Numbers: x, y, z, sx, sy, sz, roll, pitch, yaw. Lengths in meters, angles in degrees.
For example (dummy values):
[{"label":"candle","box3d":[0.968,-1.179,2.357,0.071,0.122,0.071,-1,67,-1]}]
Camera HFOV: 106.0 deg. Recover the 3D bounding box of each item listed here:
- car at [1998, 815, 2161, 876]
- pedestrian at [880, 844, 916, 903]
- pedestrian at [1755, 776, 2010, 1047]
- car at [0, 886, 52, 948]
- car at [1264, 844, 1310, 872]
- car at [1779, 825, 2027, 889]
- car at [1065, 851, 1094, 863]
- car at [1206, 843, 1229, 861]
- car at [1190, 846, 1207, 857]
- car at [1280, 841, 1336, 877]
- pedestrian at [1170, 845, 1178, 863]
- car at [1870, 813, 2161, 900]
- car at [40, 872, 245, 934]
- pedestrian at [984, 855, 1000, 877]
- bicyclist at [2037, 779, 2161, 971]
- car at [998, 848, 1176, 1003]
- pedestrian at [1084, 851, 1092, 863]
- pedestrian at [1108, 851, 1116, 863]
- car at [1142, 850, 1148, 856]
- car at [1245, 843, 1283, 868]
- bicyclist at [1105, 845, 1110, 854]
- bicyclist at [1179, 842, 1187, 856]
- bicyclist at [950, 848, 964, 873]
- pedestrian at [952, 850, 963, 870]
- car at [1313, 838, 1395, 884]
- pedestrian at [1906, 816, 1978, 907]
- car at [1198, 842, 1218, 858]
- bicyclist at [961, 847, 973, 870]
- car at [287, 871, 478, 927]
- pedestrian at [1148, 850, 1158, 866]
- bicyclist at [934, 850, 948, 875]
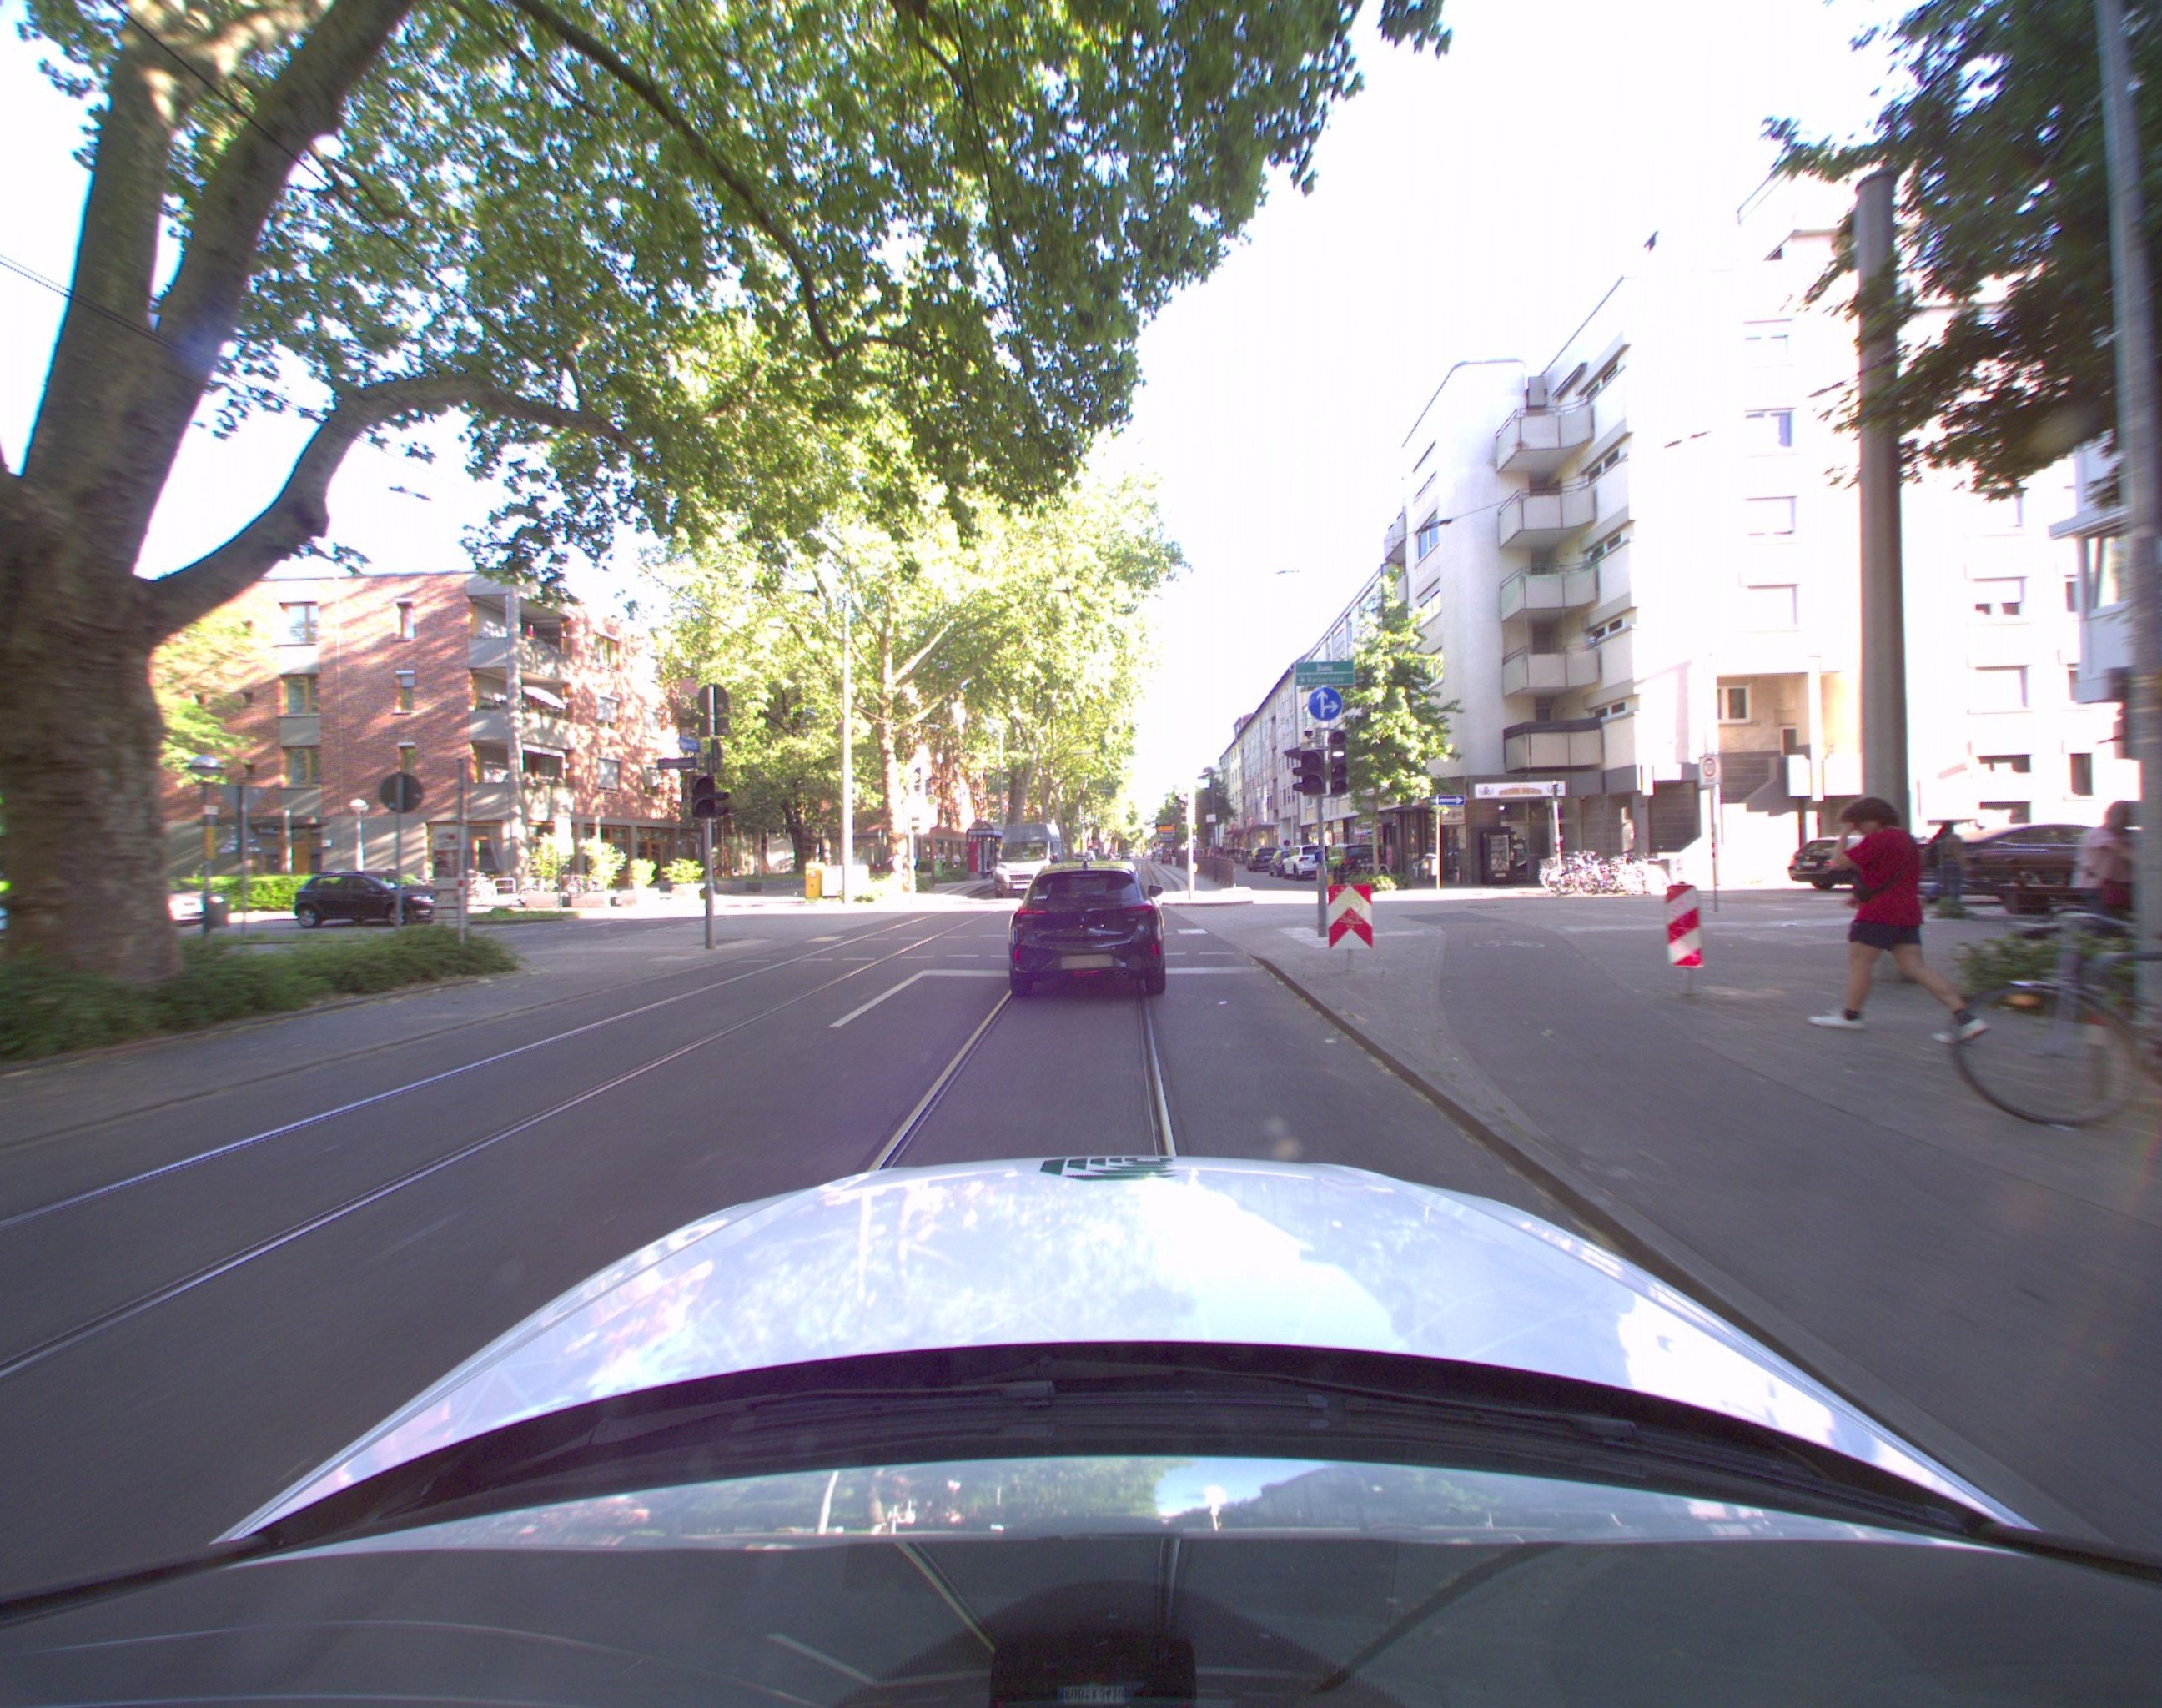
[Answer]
[{"label":"car","box3d":[27.072,-0.212,21.382,3.971,1.509,1.708,-1,0,2]},{"label":"pedestrian","box3d":[-5.849,0.615,26.105,0.921,1.835,0.920,-1,2,0]},{"label":"pedestrian","box3d":[5.783,0.373,5.931,0.879,1.758,1.040,0,-1,-22]},{"label":"car","box3d":[-26.658,1.484,18.551,3.971,1.376,2.001,-1,0,2]},{"label":"car","box3d":[11.263,0.199,44.798,1.736,1.440,4.252,-1,0,4]},{"label":"car","box3d":[21.653,0.053,21.613,4.564,1.477,1.874,-2,2,4]},{"label":"car","box3d":[-0.236,0.422,119.844,4.105,1.701,1.881,-1,0,-3]},{"label":"car","box3d":[14.964,-0.187,89.524,1.985,1.952,4.004,-1,0,3]},{"label":"car","box3d":[15.549,-0.308,108.160,1.984,1.486,4.005,-1,0,4]},{"label":"car","box3d":[10.853,0.221,39.208,1.791,1.606,4.420,-1,0,4]},{"label":"pedestrian","box3d":[7.925,-0.003,69.342,0.628,1.576,0.871,1,0,4]},{"label":"car","box3d":[18.915,0.054,16.390,4.238,1.592,1.965,-1,-1,-3]},{"label":"car","box3d":[-28.175,1.445,24.537,3.971,1.662,1.962,-1,0,2]},{"label":"pedestrian","box3d":[-4.795,0.657,43.987,0.703,1.168,0.659,-3,-1,1]},{"label":"bicyclist","box3d":[9.968,0.186,7.718,0.673,1.717,0.967,-1,-1,6]},{"label":"car","box3d":[0.128,0.734,10.069,1.753,1.508,3.685,-2,0,2]},{"label":"pedestrian","box3d":[1.006,0.485,122.485,1.160,1.748,0.957,-1,-1,-2]},{"label":"pedestrian","box3d":[4.651,0.432,121.260,1.160,1.748,0.957,-1,-1,-2]},{"label":"car","box3d":[18.322,-0.223,232.958,1.738,1.544,4.002,-1,0,2]},{"label":"car","box3d":[12.328,0.125,55.051,1.849,1.615,4.403,-1,0,4]},{"label":"bicyclist","box3d":[5.254,-0.957,159.708,0.936,1.703,1.155,-1,-1,7]},{"label":"bicyclist","box3d":[13.302,-0.674,106.290,0.859,1.759,1.052,-1,-1,-2]},{"label":"bicyclist","box3d":[-8.822,0.489,57.857,0.779,1.763,0.951,-1,-1,1]},{"label":"pedestrian","box3d":[-10.390,0.474,68.316,0.732,1.672,0.862,-1,-1,4]},{"label":"car","box3d":[10.623,0.252,31.995,1.984,1.615,4.450,-2,0,4]},{"label":"pedestrian","box3d":[15.124,0.139,14.315,0.548,1.562,0.646,-1,-1,8]},{"label":"car","box3d":[14.926,-0.466,95.968,1.985,1.797,4.004,-1,0,3]},{"label":"bicyclist","box3d":[-8.940,0.366,63.971,0.771,1.750,0.998,-1,-1,2]},{"label":"car","box3d":[-20.553,1.293,24.087,3.971,1.508,2.001,-1,0,2]},{"label":"pedestrian","box3d":[7.862,0.465,88.550,0.742,1.709,0.768,-1,-1,38]},{"label":"bicyclist","box3d":[-9.939,0.610,57.783,0.771,1.750,0.998,-1,-1,2]}]
